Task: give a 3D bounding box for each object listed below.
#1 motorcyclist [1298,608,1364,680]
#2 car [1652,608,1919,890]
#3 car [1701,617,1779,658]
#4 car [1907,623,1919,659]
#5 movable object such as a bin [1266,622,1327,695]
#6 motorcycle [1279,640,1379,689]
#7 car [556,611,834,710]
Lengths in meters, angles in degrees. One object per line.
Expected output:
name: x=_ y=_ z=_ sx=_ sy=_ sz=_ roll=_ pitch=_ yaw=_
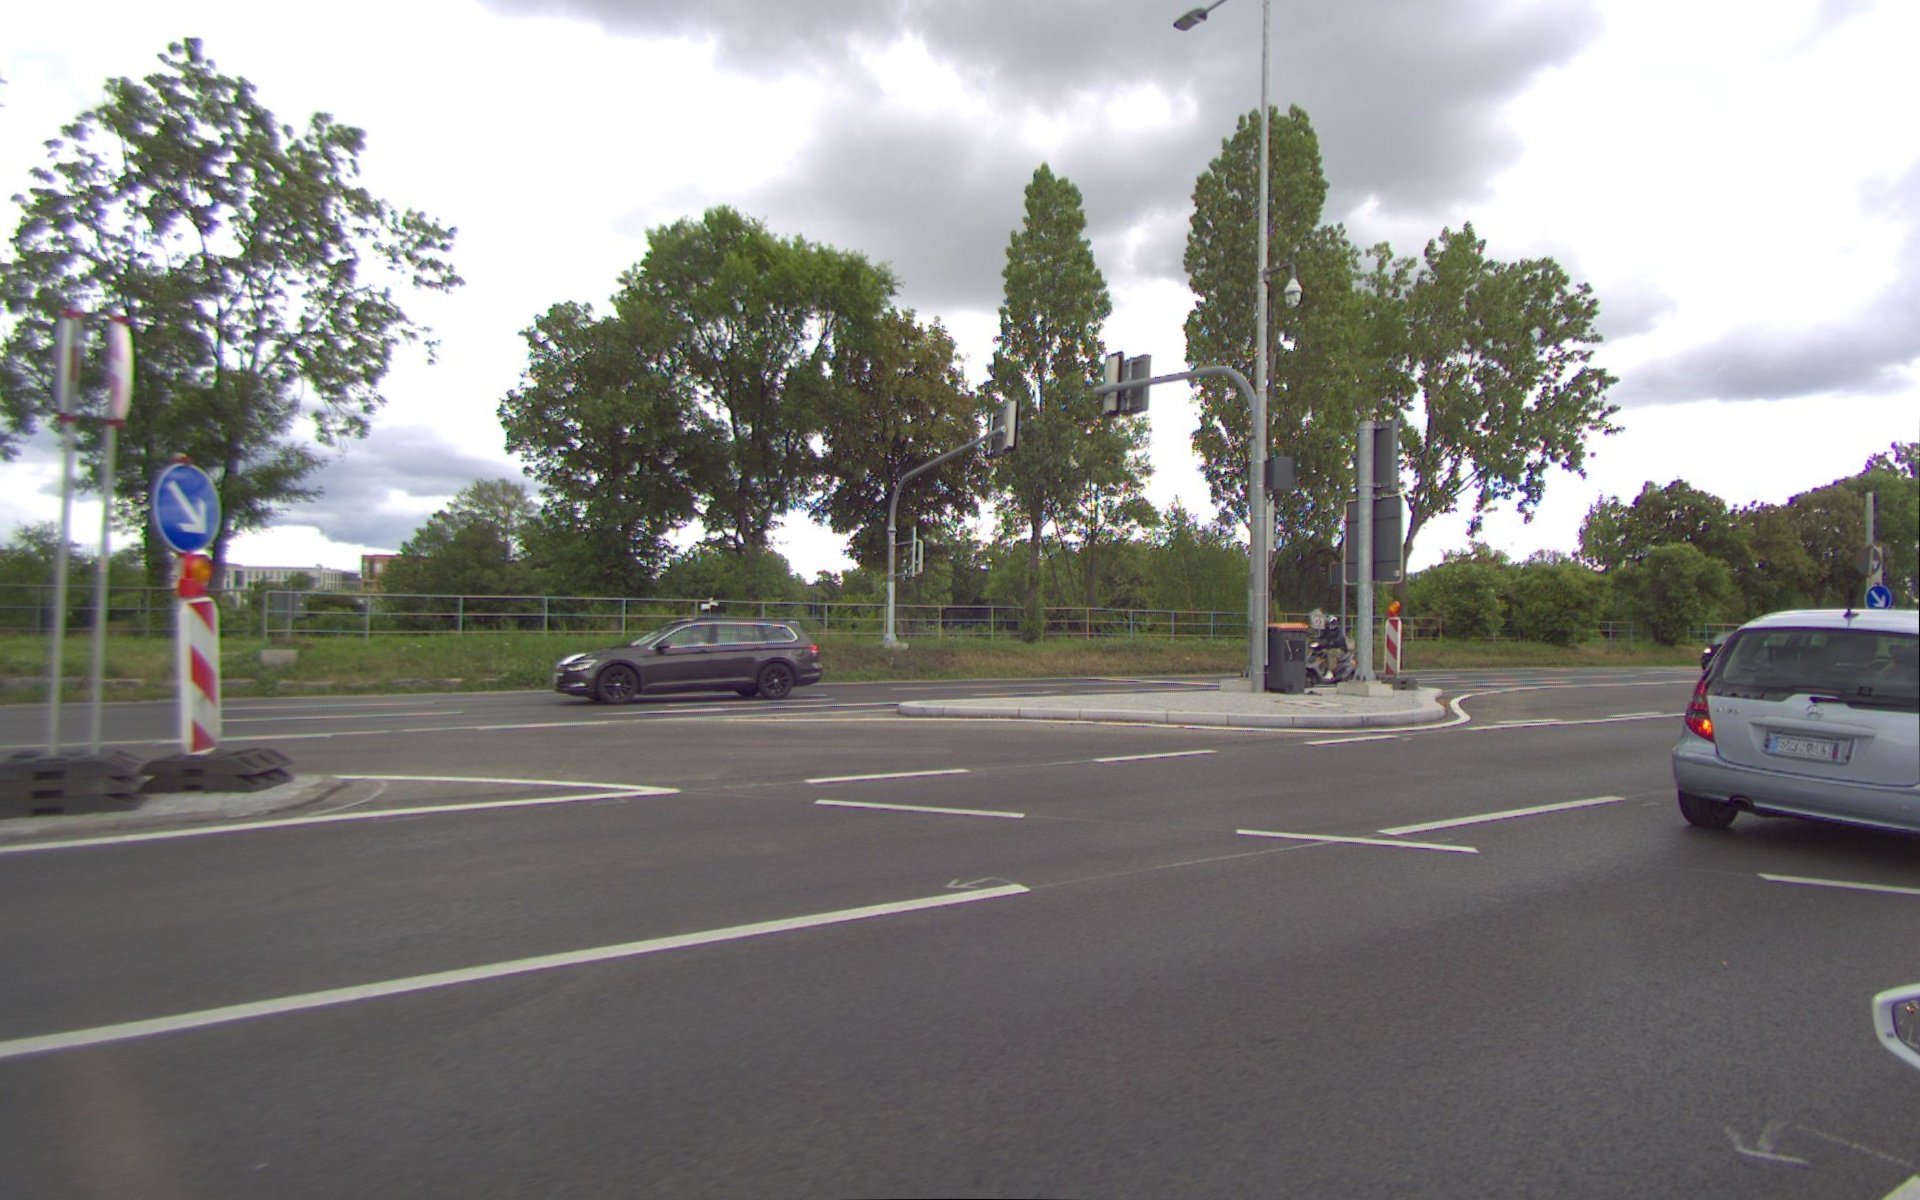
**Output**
motorcyclist: x=8.342 y=0.989 z=22.591 sx=0.969 sy=1.542 sz=0.908 roll=3 pitch=1 yaw=-30
car: x=6.886 y=0.862 z=7.171 sx=3.954 sy=1.550 sz=1.701 roll=0 pitch=2 yaw=-31
car: x=30.455 y=1.430 z=39.224 sx=2.705 sy=1.482 sz=1.465 roll=0 pitch=2 yaw=-30
car: x=44.505 y=1.848 z=44.846 sx=4.748 sy=1.513 sz=1.984 roll=0 pitch=2 yaw=-31
movable object such as a bin: x=5.231 y=0.899 z=15.612 sx=0.732 sy=1.073 sz=0.538 roll=0 pitch=2 yaw=-30
motorcycle: x=8.296 y=1.450 z=22.560 sx=2.138 sy=1.002 sz=0.908 roll=3 pitch=0 yaw=-31
car: x=-4.740 y=0.991 z=18.142 sx=4.516 sy=1.571 sz=1.983 roll=0 pitch=0 yaw=-32
